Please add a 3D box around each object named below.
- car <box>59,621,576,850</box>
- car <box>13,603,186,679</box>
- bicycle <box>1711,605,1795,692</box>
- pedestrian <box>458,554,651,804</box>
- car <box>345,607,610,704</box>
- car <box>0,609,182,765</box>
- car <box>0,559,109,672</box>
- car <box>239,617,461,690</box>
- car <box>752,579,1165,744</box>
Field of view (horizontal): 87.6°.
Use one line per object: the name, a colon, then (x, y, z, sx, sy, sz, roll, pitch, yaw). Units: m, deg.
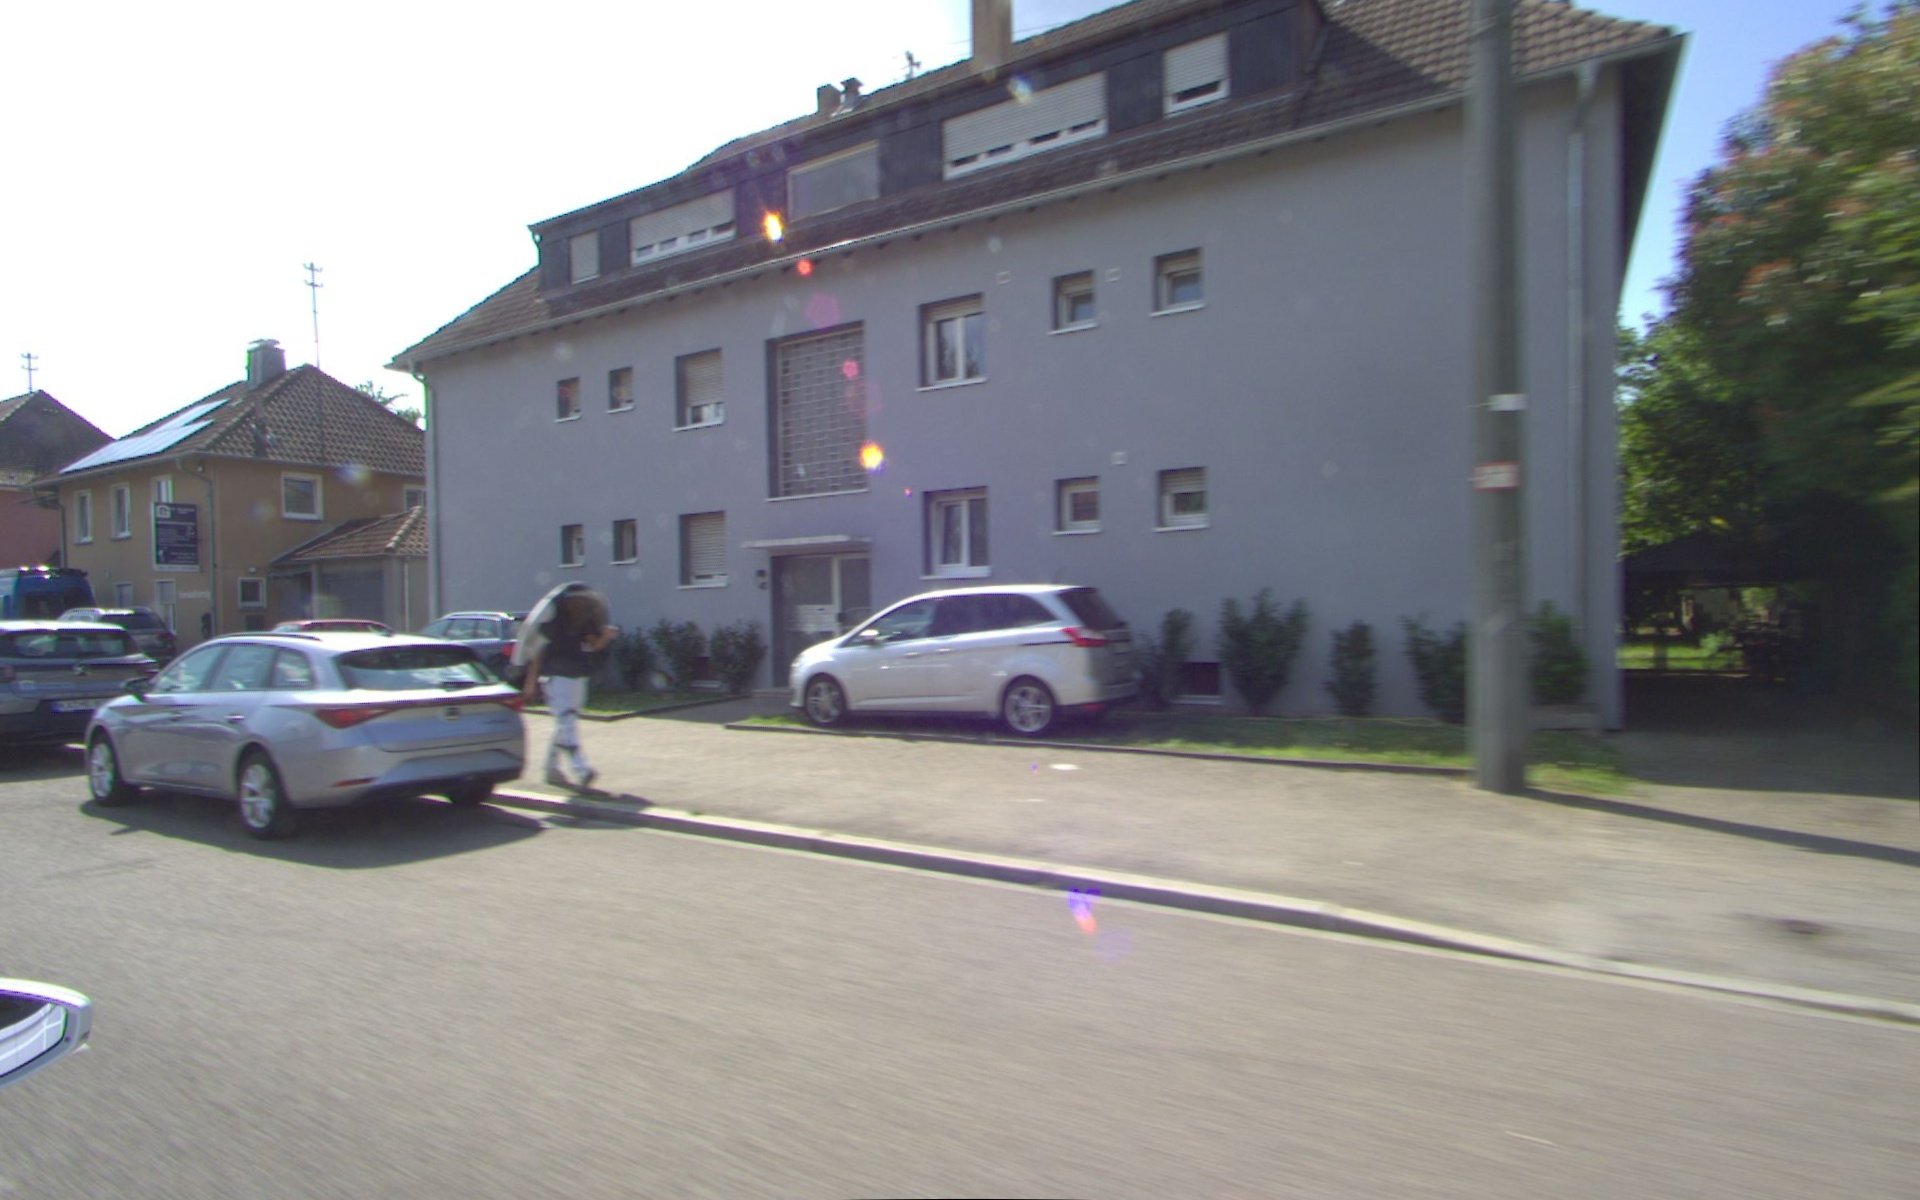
car: (-5.485, 0.951, 8.396, 4.575, 1.472, 1.812, -2, -2, 31)
car: (-21.922, 0.983, 25.464, 4.791, 1.735, 1.833, -1, 2, 30)
bicycle: (13.011, 0.753, 16.484, 0.825, 1.304, 2.117, 0, 0, 31)
pedestrian: (-3.492, 0.640, 8.676, 1.076, 1.971, 1.110, -1, 0, 32)
car: (-8.396, 0.896, 17.295, 4.787, 1.442, 1.795, -1, 0, 31)
car: (-11.250, 0.954, 11.830, 4.190, 1.579, 1.805, -2, -2, 30)
car: (-27.097, 0.503, 28.816, 6.154, 2.967, 2.148, -2, -2, 31)
car: (-12.742, 1.075, 21.138, 1.701, 1.398, 3.645, -2, -1, 29)
car: (-0.096, 0.668, 12.046, 4.697, 1.669, 1.754, -1, 0, 29)
